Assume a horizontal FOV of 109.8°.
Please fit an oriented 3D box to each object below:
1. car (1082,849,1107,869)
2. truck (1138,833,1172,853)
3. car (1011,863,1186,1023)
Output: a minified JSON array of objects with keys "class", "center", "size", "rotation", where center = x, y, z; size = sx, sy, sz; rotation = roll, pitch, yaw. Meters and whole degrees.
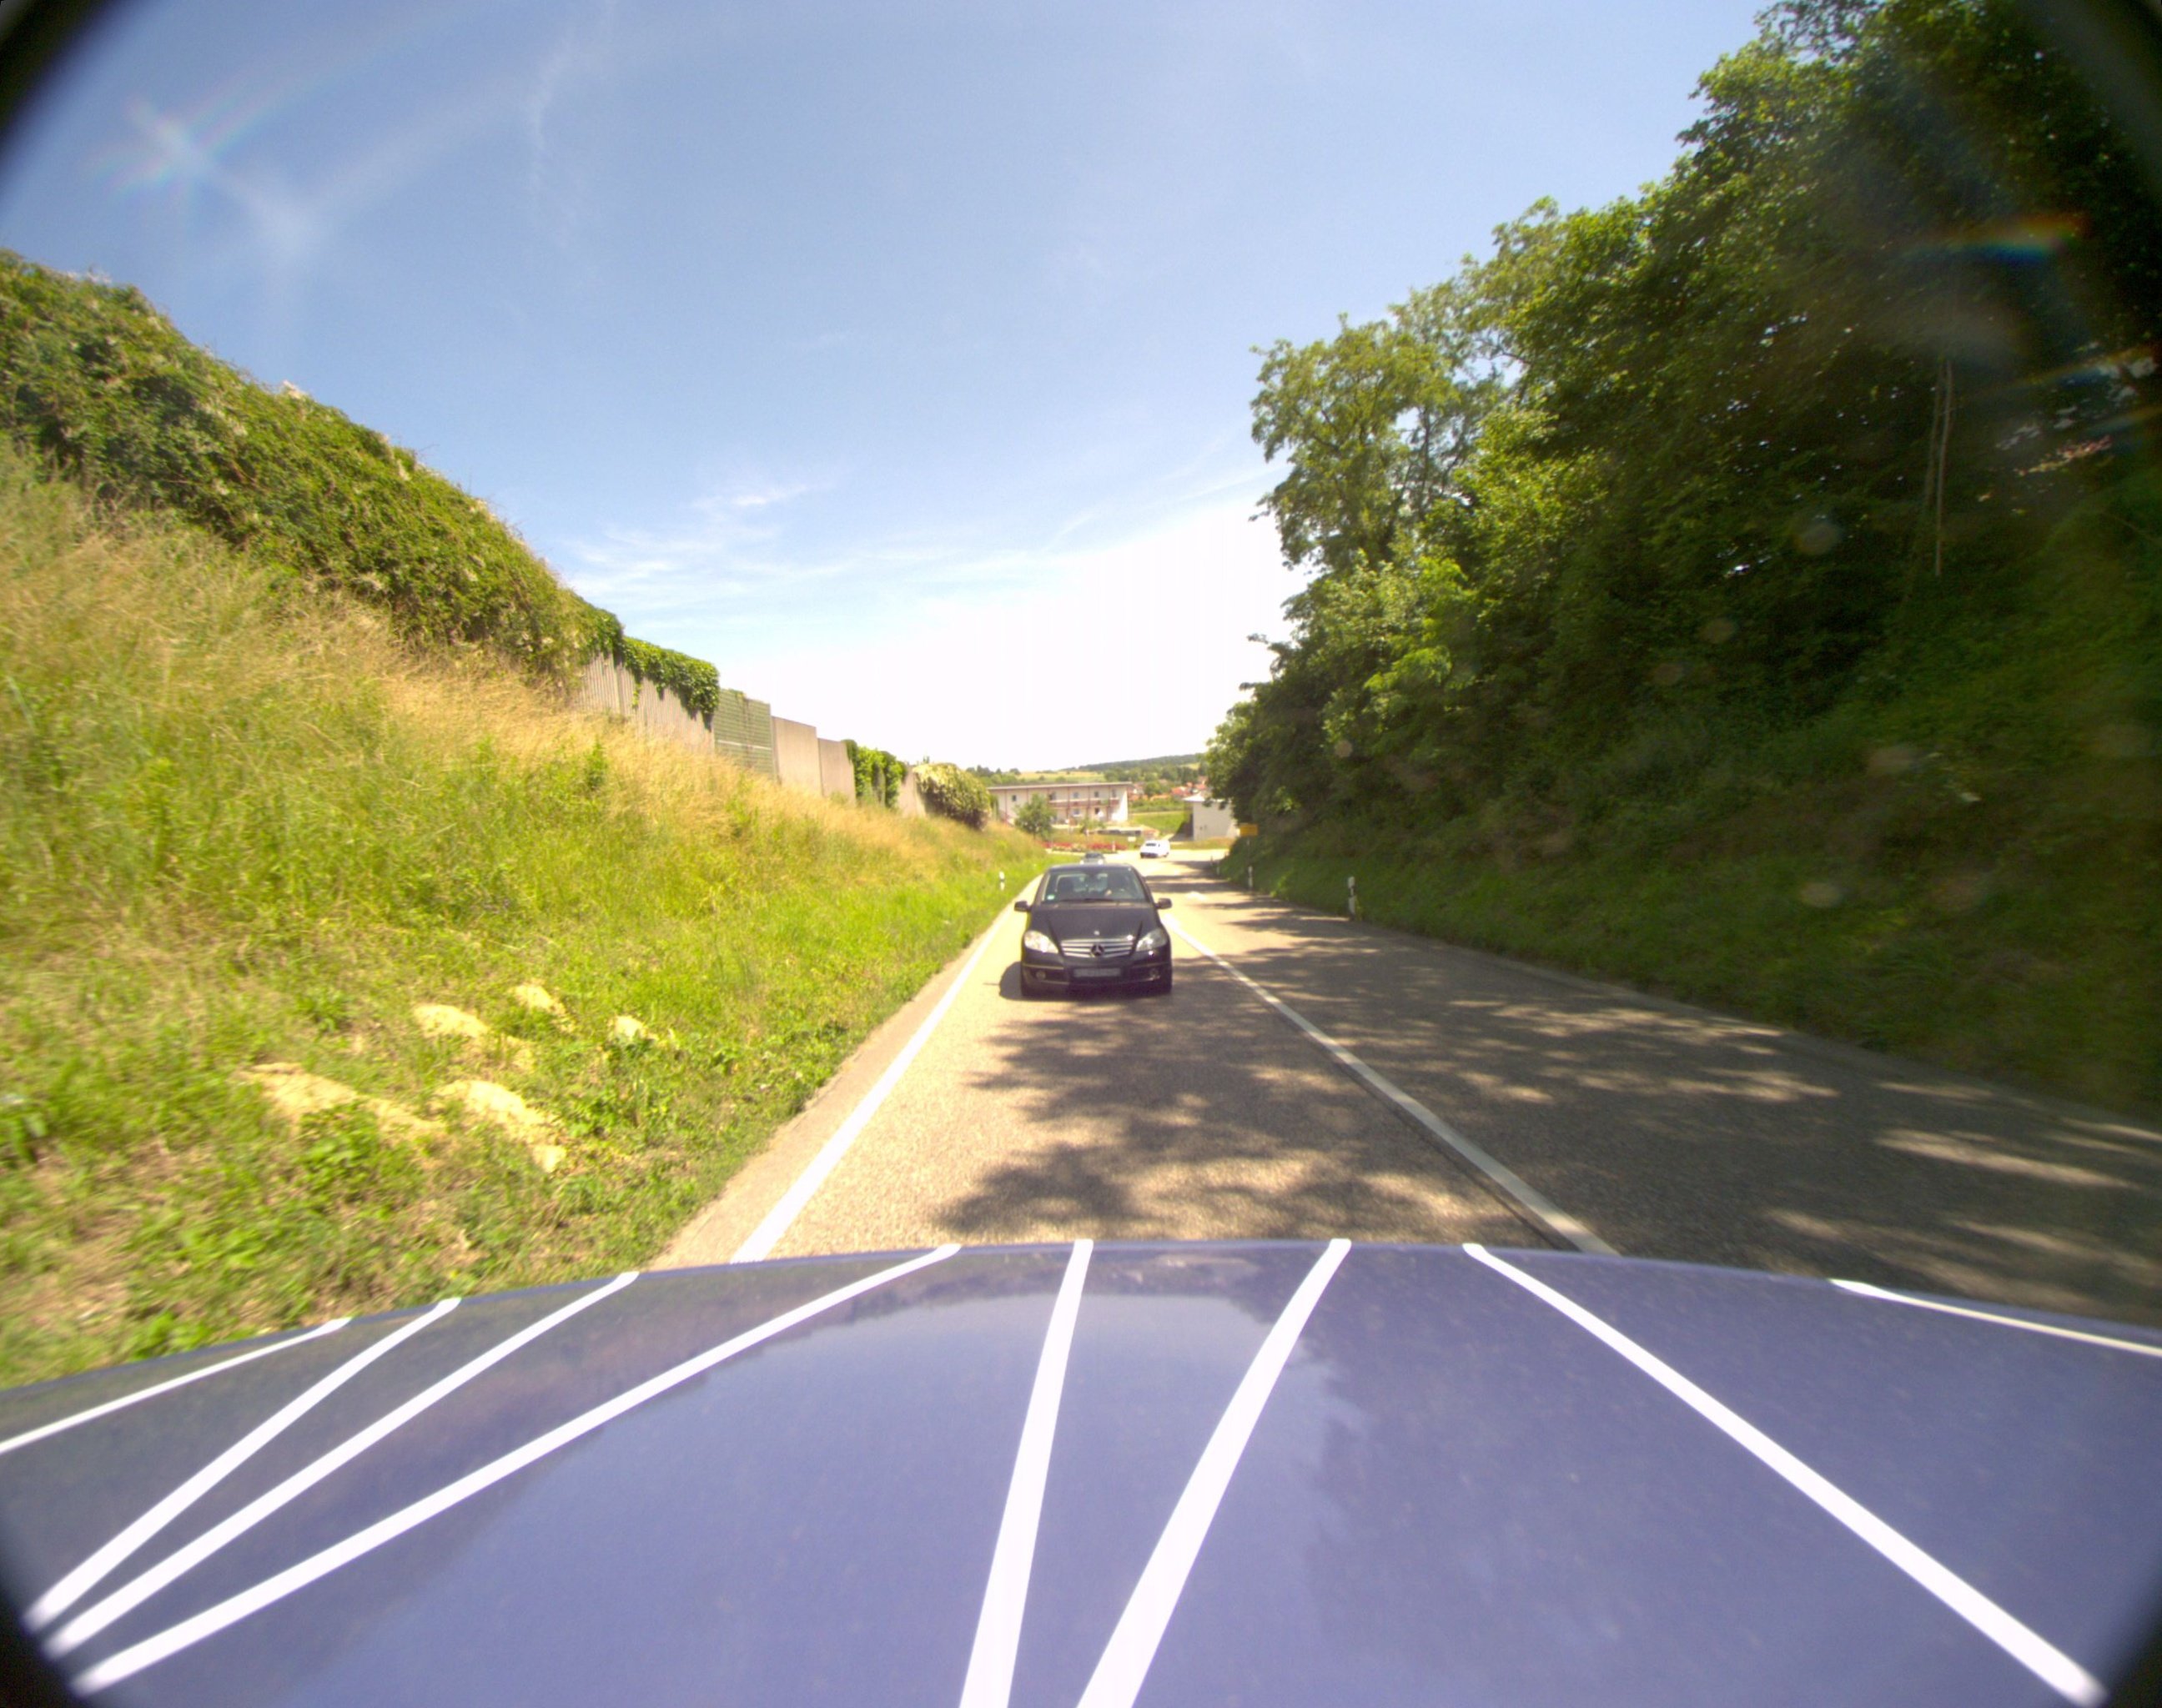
[{"class":"car","center":[1.067,0.339,58.102],"size":[1.755,1.281,4.144],"rotation":[-4,2,3]},{"class":"truck","center":[8.450,-1.236,86.247],"size":[2.067,2.002,5.251],"rotation":[-2,3,27]},{"class":"car","center":[0.232,0.973,10.015],"size":[1.795,1.570,3.800],"rotation":[-3,0,1]}]
